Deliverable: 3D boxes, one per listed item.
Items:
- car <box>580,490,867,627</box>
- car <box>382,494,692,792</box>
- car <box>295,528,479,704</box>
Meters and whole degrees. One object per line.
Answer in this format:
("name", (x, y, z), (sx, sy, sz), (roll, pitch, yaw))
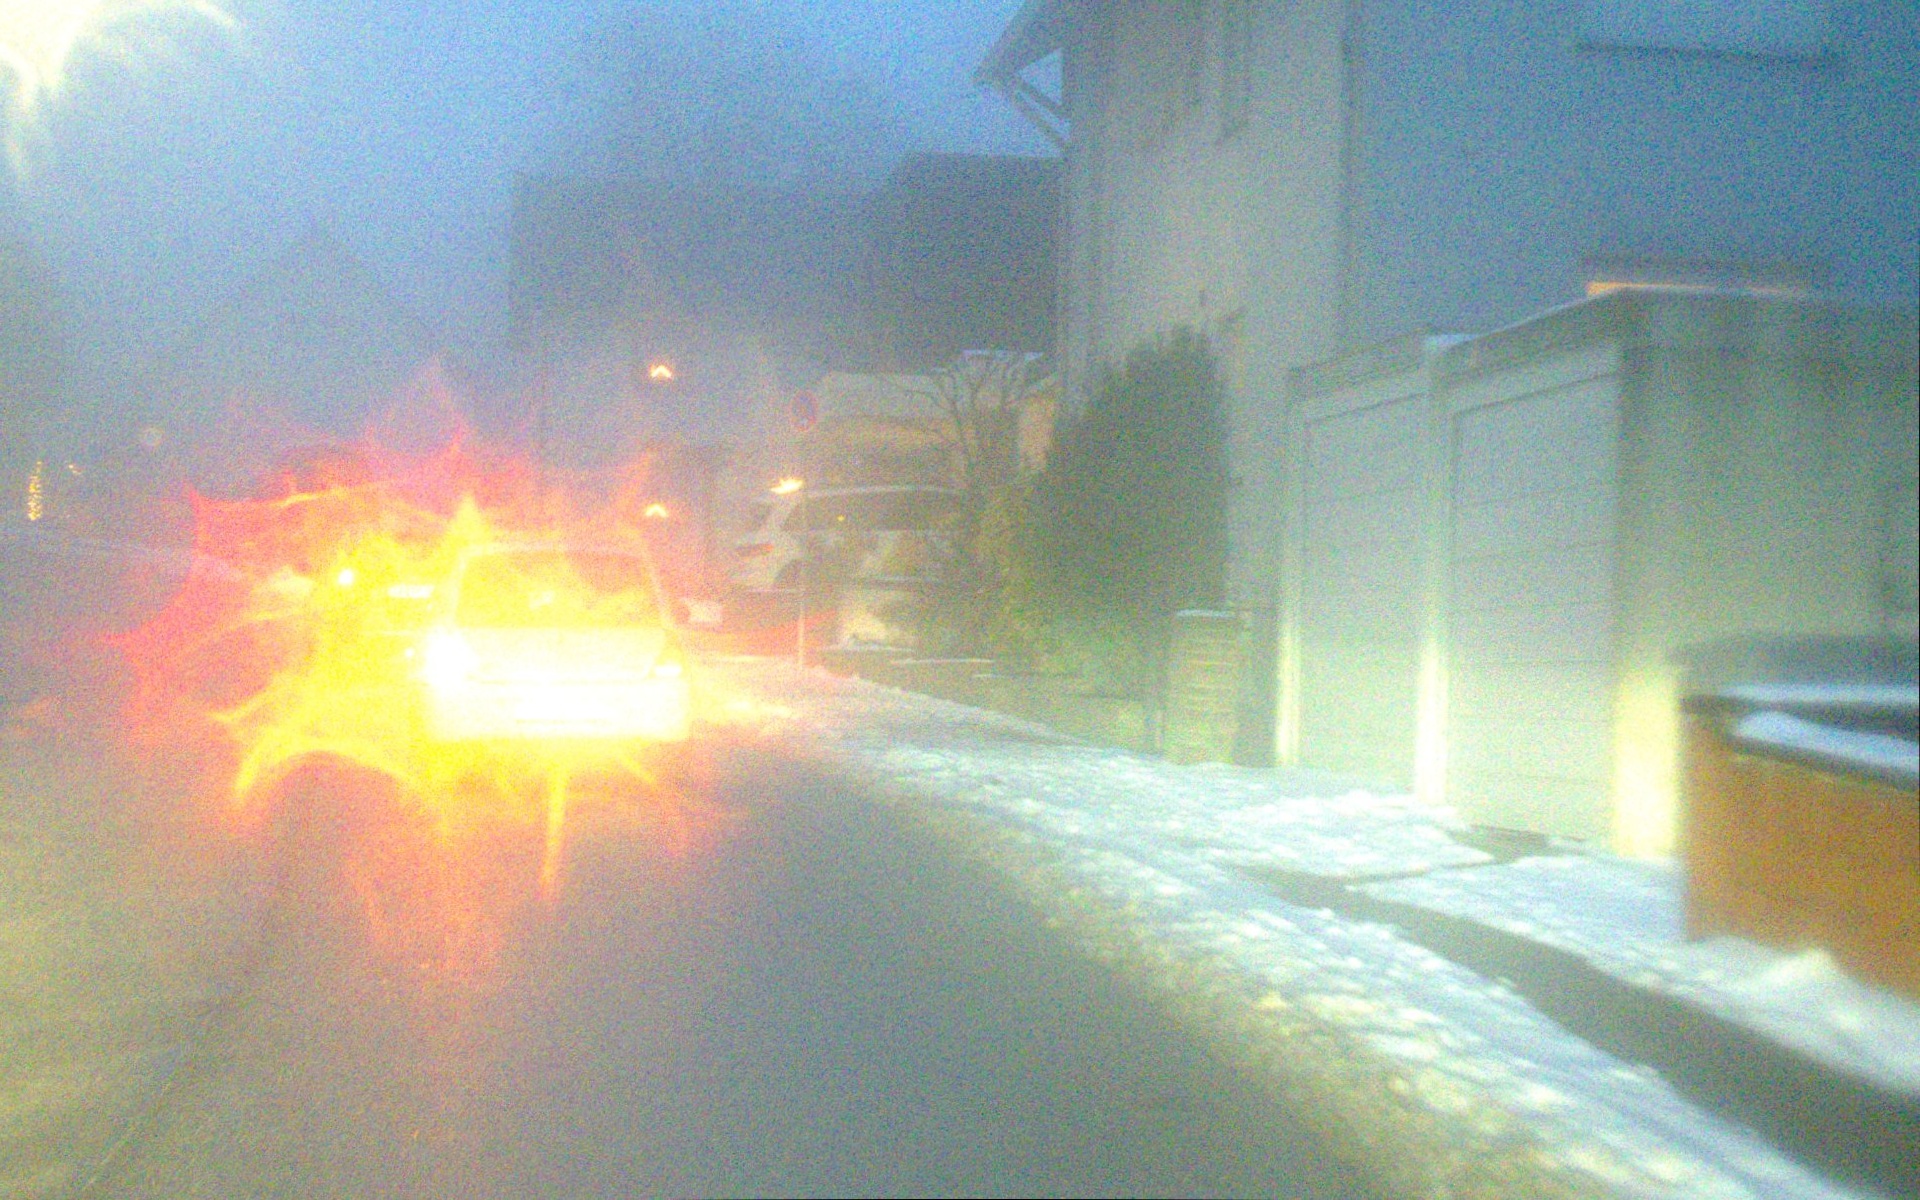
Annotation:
("car", (-3.413, -0.571, 49.293), (3.986, 1.810, 2.000), (1, -1, -6))
("car", (-2.634, 0.259, 21.141), (1.645, 1.590, 3.700), (3, -1, -8))
("car", (-5.777, 0.167, 34.632), (1.645, 1.590, 3.700), (3, -1, -10))
